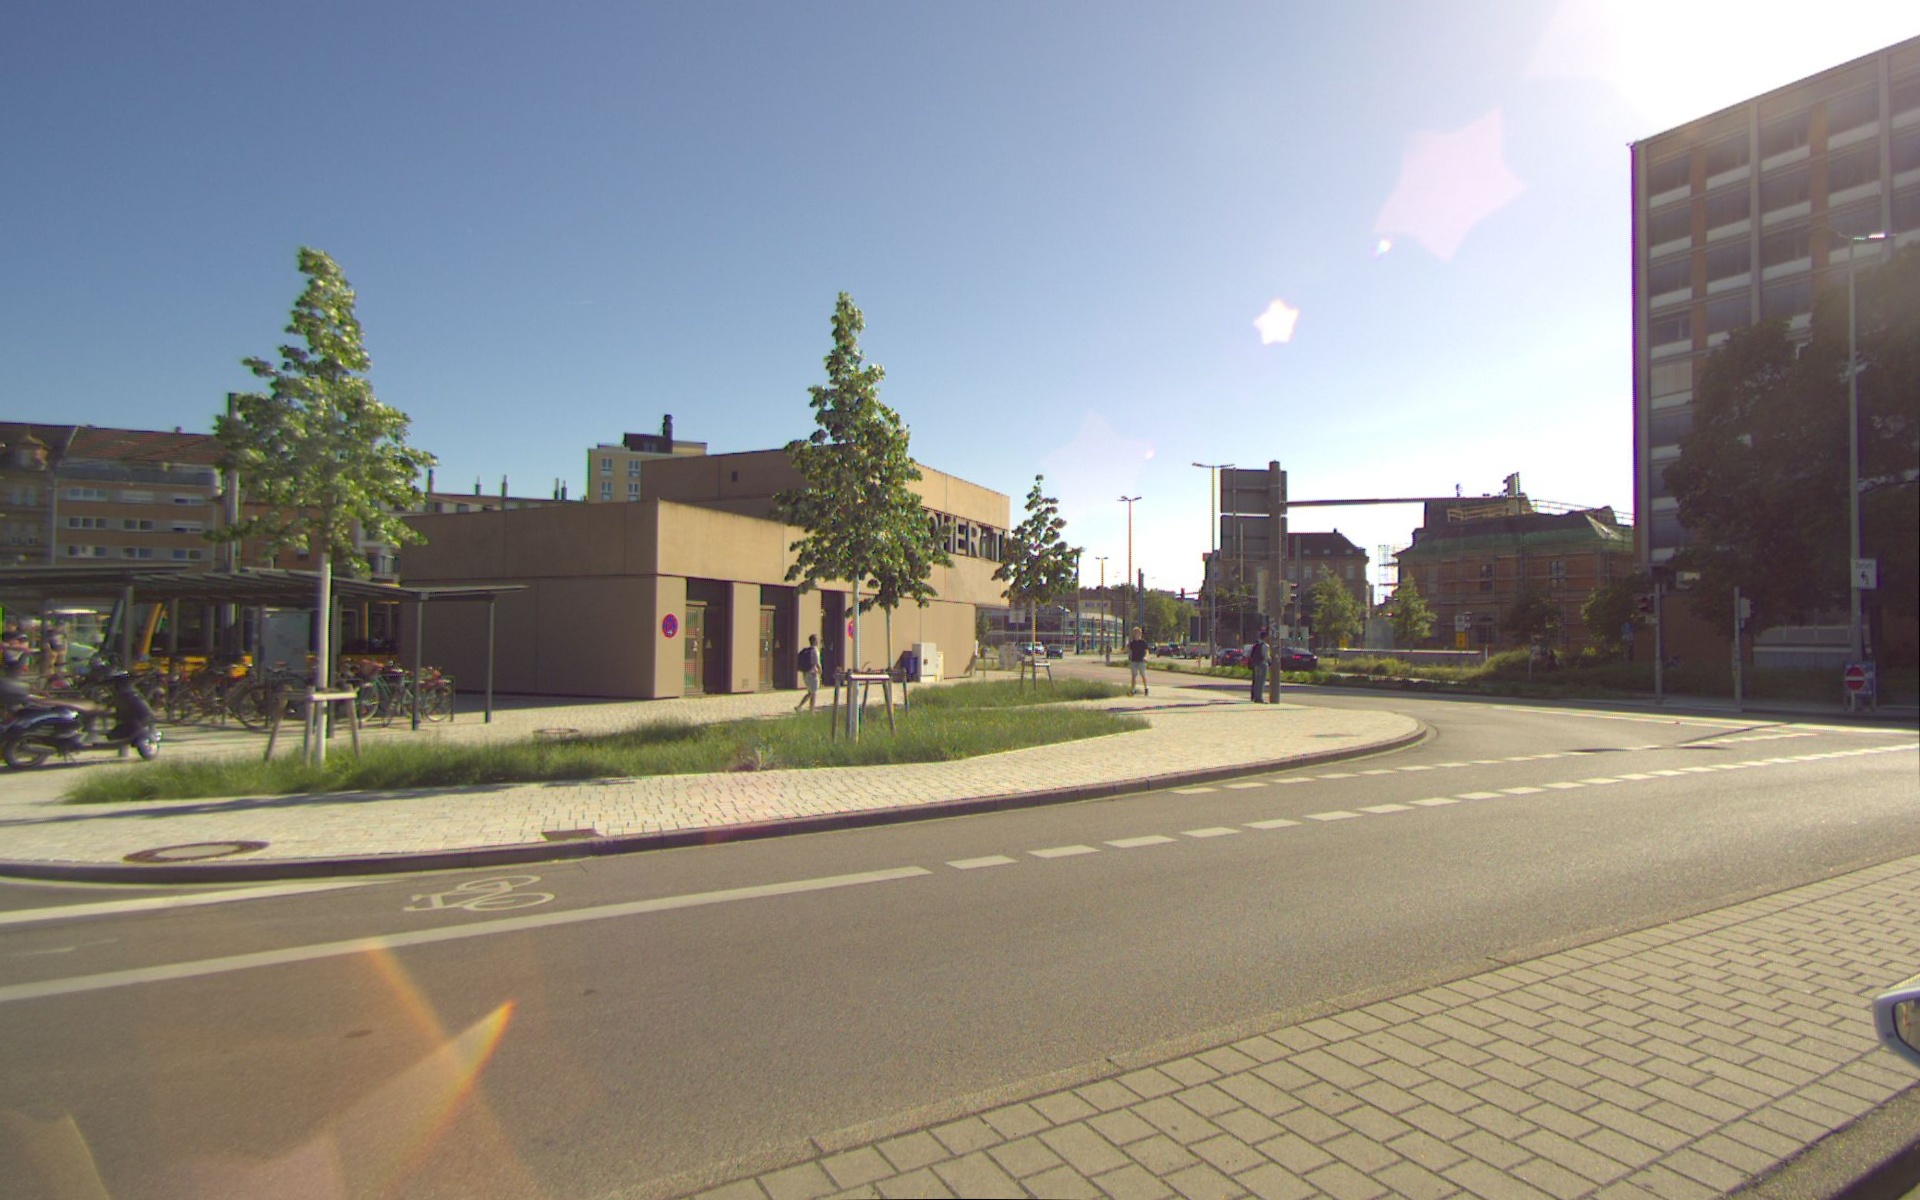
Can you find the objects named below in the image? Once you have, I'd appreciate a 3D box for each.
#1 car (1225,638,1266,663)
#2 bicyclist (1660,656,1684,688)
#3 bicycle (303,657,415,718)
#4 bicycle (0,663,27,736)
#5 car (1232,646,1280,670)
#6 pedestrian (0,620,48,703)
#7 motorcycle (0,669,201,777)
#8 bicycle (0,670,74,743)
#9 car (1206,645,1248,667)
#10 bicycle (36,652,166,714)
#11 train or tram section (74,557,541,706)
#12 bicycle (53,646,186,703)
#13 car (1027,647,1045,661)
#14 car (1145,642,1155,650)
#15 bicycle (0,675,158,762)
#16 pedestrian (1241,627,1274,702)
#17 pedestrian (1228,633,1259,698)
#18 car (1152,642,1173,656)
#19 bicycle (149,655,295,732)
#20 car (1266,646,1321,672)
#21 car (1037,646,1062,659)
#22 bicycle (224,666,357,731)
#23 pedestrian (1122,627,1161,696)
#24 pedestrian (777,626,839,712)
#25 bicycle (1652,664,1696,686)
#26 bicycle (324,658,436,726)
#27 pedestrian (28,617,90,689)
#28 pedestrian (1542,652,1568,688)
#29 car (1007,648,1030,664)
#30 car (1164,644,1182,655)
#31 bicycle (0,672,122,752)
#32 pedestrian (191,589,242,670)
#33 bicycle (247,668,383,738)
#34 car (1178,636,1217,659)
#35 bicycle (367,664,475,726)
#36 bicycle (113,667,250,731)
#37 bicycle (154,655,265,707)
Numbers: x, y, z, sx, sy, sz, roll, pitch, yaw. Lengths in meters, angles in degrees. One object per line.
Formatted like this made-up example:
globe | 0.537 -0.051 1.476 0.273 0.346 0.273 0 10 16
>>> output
car | 24.647 4.329 86.876 2.031 2.040 5.016 1 -2 -1
bicyclist | 32.976 3.319 46.535 0.637 1.431 0.638 1 -2 -5
bicycle | -11.748 1.688 19.693 0.617 1.107 1.829 0 -2 25
bicycle | -15.274 1.516 15.016 0.617 1.094 1.829 0 -2 25
car | 20.282 3.940 69.003 1.962 1.538 3.818 1 -2 -4
pedestrian | -19.589 1.261 20.832 0.593 1.681 0.772 0 -2 23
motorcycle | -10.922 1.479 12.480 0.599 1.173 2.360 0 -2 25
bicycle | -14.106 1.550 14.517 0.617 1.021 1.829 0 -2 25
car | 20.052 4.210 75.509 1.962 1.538 3.818 1 -2 -4
bicycle | -16.913 1.611 19.834 0.617 1.146 1.828 0 -2 27
train or tram section | -18.725 0.986 30.640 2.702 3.648 12.318 0 -2 25
bicycle | -15.994 1.392 19.171 0.617 1.021 1.828 0 -2 27
car | 9.965 7.029 131.210 1.865 1.728 4.003 0 -2 10
car | 40.452 9.775 213.592 1.959 1.695 4.003 0 -2 9
bicycle | -12.040 1.559 13.525 0.617 1.021 1.829 0 -2 25
pedestrian | 7.604 1.643 25.657 0.594 1.880 0.681 1 -2 -7
pedestrian | 7.595 1.755 26.921 0.594 1.719 0.634 1 -2 -7
car | 25.026 6.062 124.181 2.059 1.602 4.862 0 -2 6
bicycle | -12.890 1.600 17.634 0.496 1.225 2.051 0 -2 26
car | 20.807 3.658 62.738 1.962 1.538 3.818 1 -2 -4
car | 9.610 5.667 107.920 1.962 1.407 3.998 0 -3 -5
bicycle | -11.617 1.680 17.505 0.492 1.010 1.887 0 -2 31
pedestrian | 5.006 1.695 27.744 0.826 1.869 0.866 1 -2 -7
pedestrian | -3.180 1.418 20.989 1.015 1.727 0.830 2 -2 -36
bicycle | 33.004 3.462 46.465 0.612 0.971 1.870 1 -2 -5
bicycle | -10.744 1.676 18.688 0.616 1.161 1.831 0 -2 18
pedestrian | -26.265 1.540 29.292 0.854 2.040 1.012 0 -2 19
pedestrian | 34.289 4.018 57.897 0.996 2.040 0.825 1 -2 -6
car | 6.990 6.636 119.980 1.963 1.814 3.995 1 -2 -8
car | 28.577 6.666 135.035 2.024 1.458 4.061 0 -2 7
bicycle | -13.123 1.558 14.077 0.617 1.021 2.026 0 -2 25
pedestrian | -17.610 0.693 23.808 0.738 1.880 0.709 1 -2 -19
bicycle | -10.674 1.679 16.688 0.617 1.021 1.828 0 -2 27
car | 27.009 5.359 114.461 2.953 2.580 6.960 0 -2 2
bicycle | -9.824 1.710 18.389 0.616 1.021 1.832 0 -2 16
bicycle | -13.867 1.742 17.942 0.617 1.021 1.828 0 -2 27
bicycle | -16.259 1.734 21.808 0.617 1.021 1.829 0 -2 25
